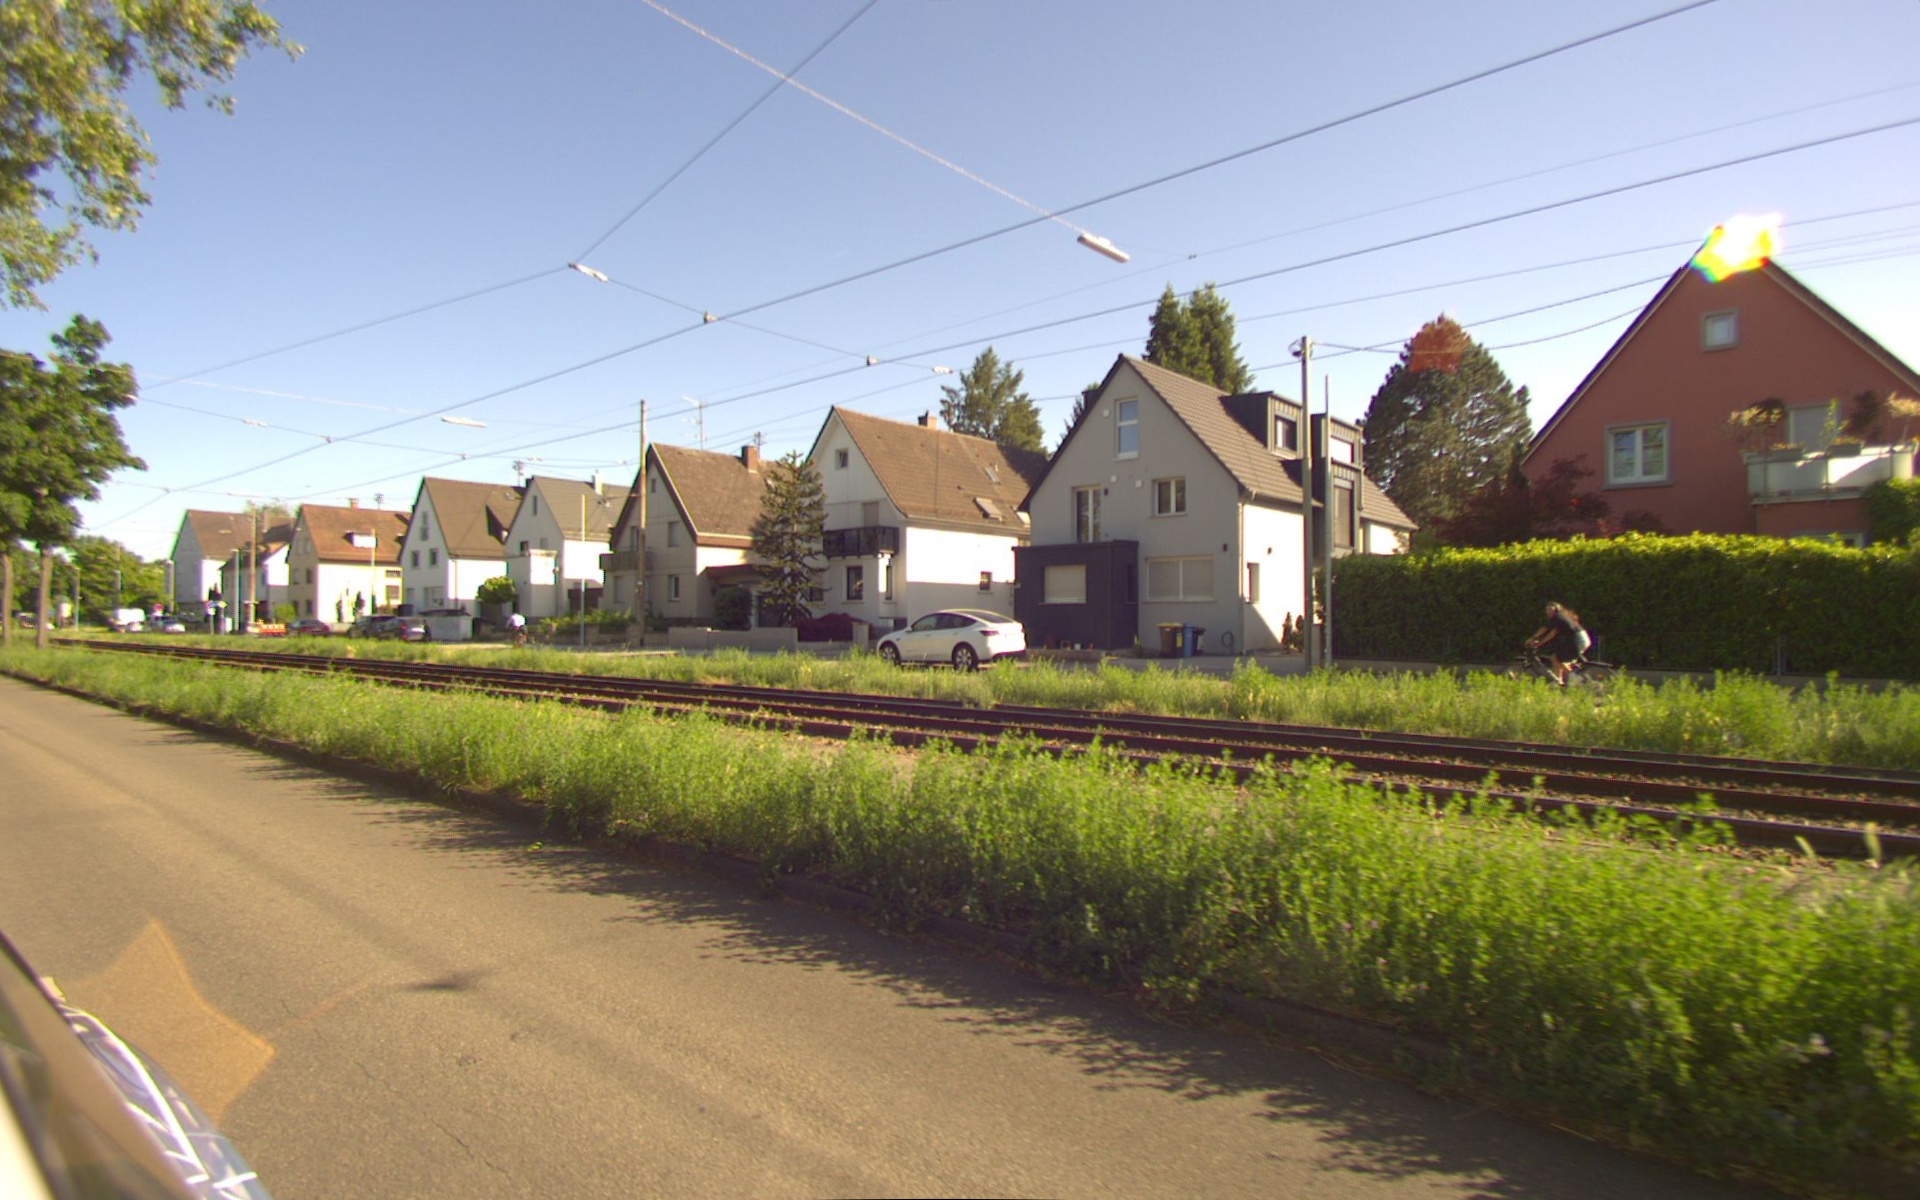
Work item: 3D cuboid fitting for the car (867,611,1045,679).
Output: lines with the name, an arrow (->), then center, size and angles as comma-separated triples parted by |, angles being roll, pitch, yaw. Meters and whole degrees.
car -> -0.198, 1.171, 27.972 | 4.837, 1.691, 1.973 | -1, 0, 42

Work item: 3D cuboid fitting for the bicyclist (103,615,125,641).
bicyclist -> -76.395, 2.532, 91.428 | 1.622, 2.250, 1.293 | -1, 0, 41

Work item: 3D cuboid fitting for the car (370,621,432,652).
car -> -29.666, 1.911, 53.684 | 3.754, 1.501, 1.716 | -1, 0, 42

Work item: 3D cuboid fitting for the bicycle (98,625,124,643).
bicycle -> -79.866, 3.144, 95.159 | 3.998, 1.589, 1.336 | -1, 0, 42

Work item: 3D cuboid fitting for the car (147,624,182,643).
car -> -70.519, 2.937, 89.667 | 3.999, 1.517, 1.768 | -1, 0, 42

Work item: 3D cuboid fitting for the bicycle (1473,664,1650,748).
bicycle -> 9.592, 1.652, 16.197 | 2.308, 1.143, 0.843 | -1, 0, 42

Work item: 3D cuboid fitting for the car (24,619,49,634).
car -> -128.825, 3.701, 141.141 | 3.998, 2.050, 2.106 | -1, 0, 41

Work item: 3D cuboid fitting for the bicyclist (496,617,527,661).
bicyclist -> -17.719, 1.515, 39.994 | 0.836, 1.687, 0.843 | -1, 0, 40

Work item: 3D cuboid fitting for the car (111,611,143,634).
car -> -84.387, 2.232, 102.478 | 4.001, 2.239, 2.104 | -1, 0, 44

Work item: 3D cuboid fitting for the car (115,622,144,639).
car -> -81.035, 2.966, 98.678 | 4.002, 1.517, 1.767 | -1, 0, 44

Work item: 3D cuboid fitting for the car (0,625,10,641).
car -> -129.542, 4.478, 136.120 | 3.998, 2.050, 2.106 | -1, 0, 41

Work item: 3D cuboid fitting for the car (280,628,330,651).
car -> -42.043, 2.514, 64.912 | 3.822, 1.392, 1.733 | -1, 0, 42

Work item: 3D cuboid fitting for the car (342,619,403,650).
car -> -32.872, 1.900, 56.585 | 4.010, 1.609, 1.779 | -1, 0, 42

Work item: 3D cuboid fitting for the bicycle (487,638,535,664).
bicycle -> -17.793, 2.007, 40.069 | 2.308, 0.958, 0.843 | -1, 0, 42

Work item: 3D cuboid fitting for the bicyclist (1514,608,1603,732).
bicyclist -> 9.570, 1.081, 16.191 | 1.071, 1.901, 0.843 | -1, 0, 41

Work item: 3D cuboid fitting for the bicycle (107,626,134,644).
bicycle -> -76.279, 3.178, 91.953 | 3.998, 1.506, 1.336 | -1, 0, 42
